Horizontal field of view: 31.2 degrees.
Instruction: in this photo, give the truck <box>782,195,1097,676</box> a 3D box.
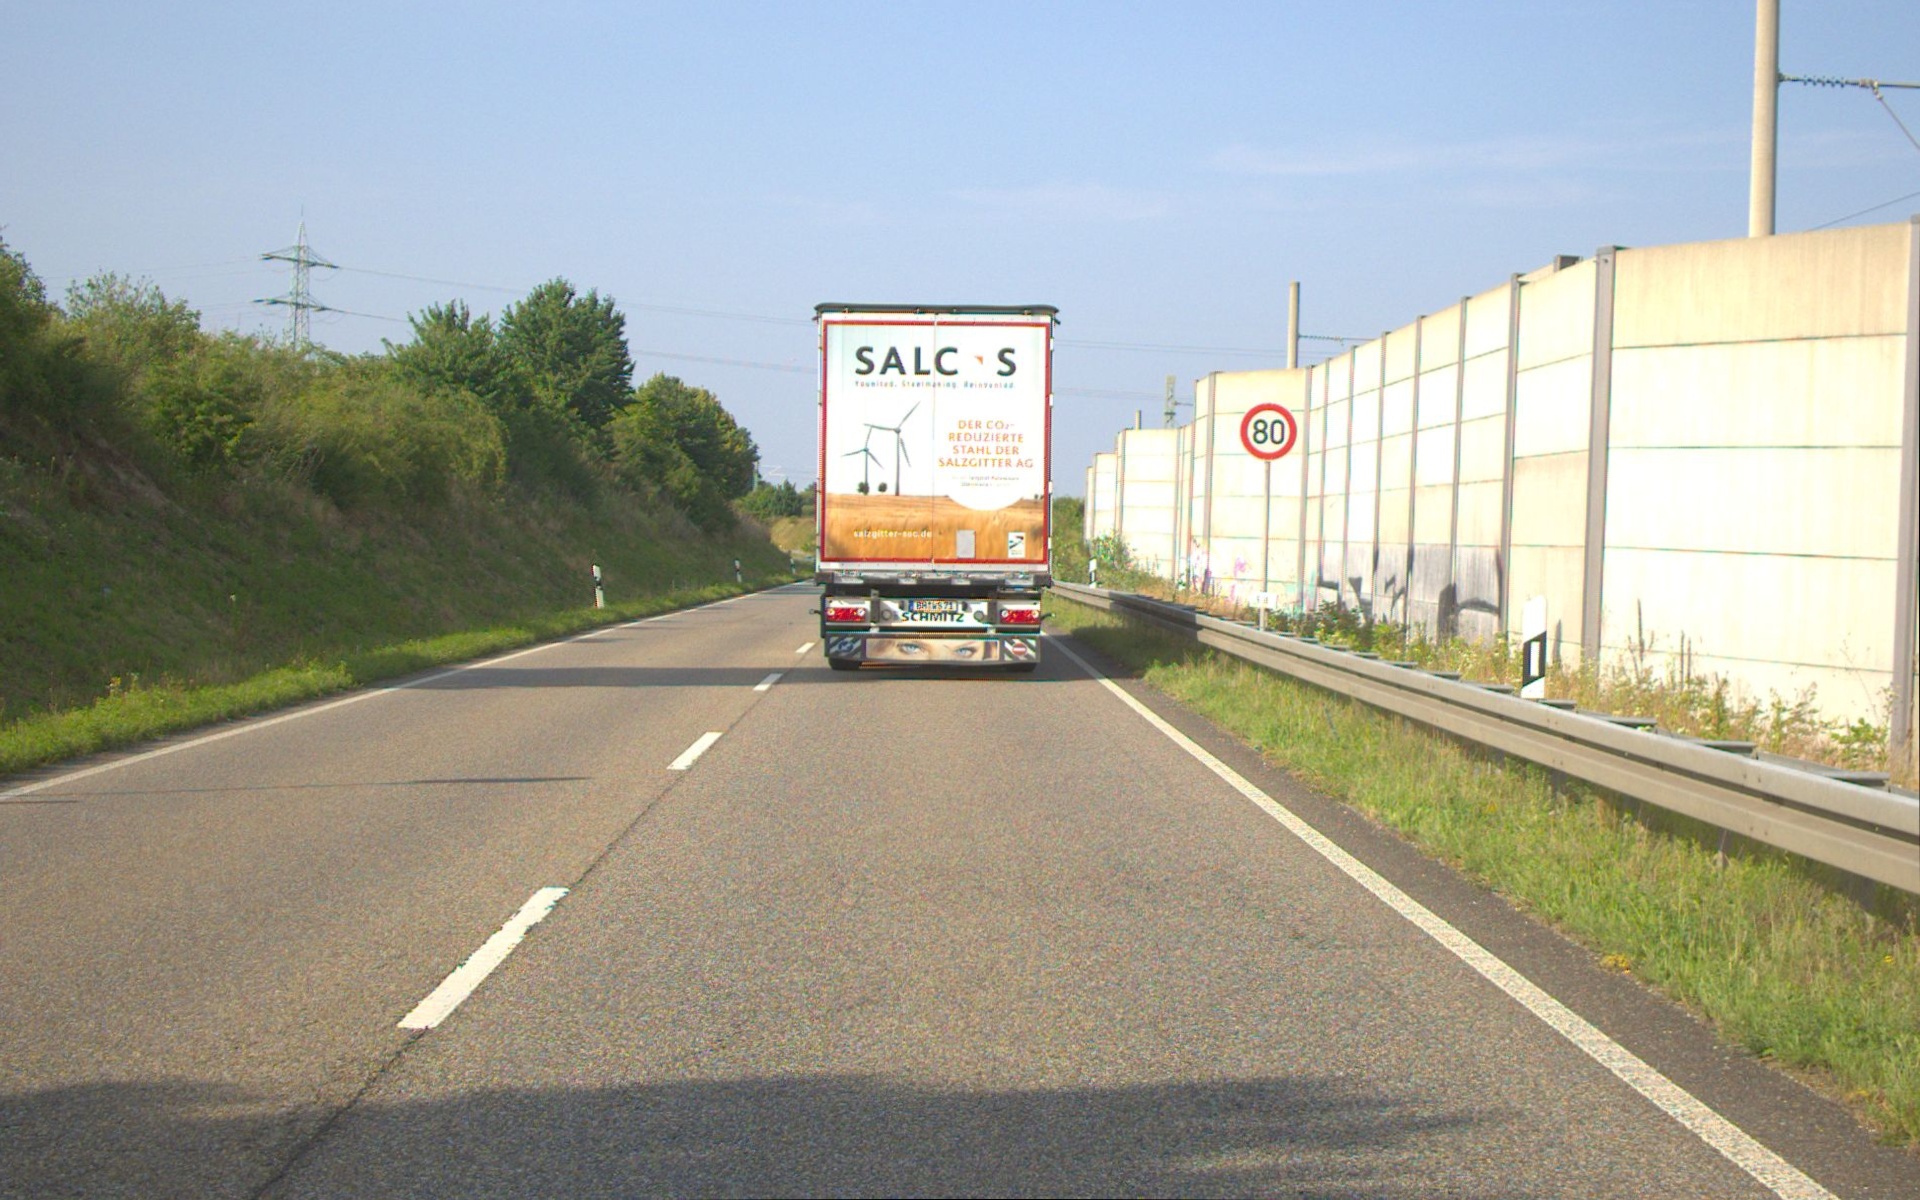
[{"bbox_3d":[-0.443,-1.892,42.660,3.290,5.072,12.039,1,1,-2],"label":"truck"}]
